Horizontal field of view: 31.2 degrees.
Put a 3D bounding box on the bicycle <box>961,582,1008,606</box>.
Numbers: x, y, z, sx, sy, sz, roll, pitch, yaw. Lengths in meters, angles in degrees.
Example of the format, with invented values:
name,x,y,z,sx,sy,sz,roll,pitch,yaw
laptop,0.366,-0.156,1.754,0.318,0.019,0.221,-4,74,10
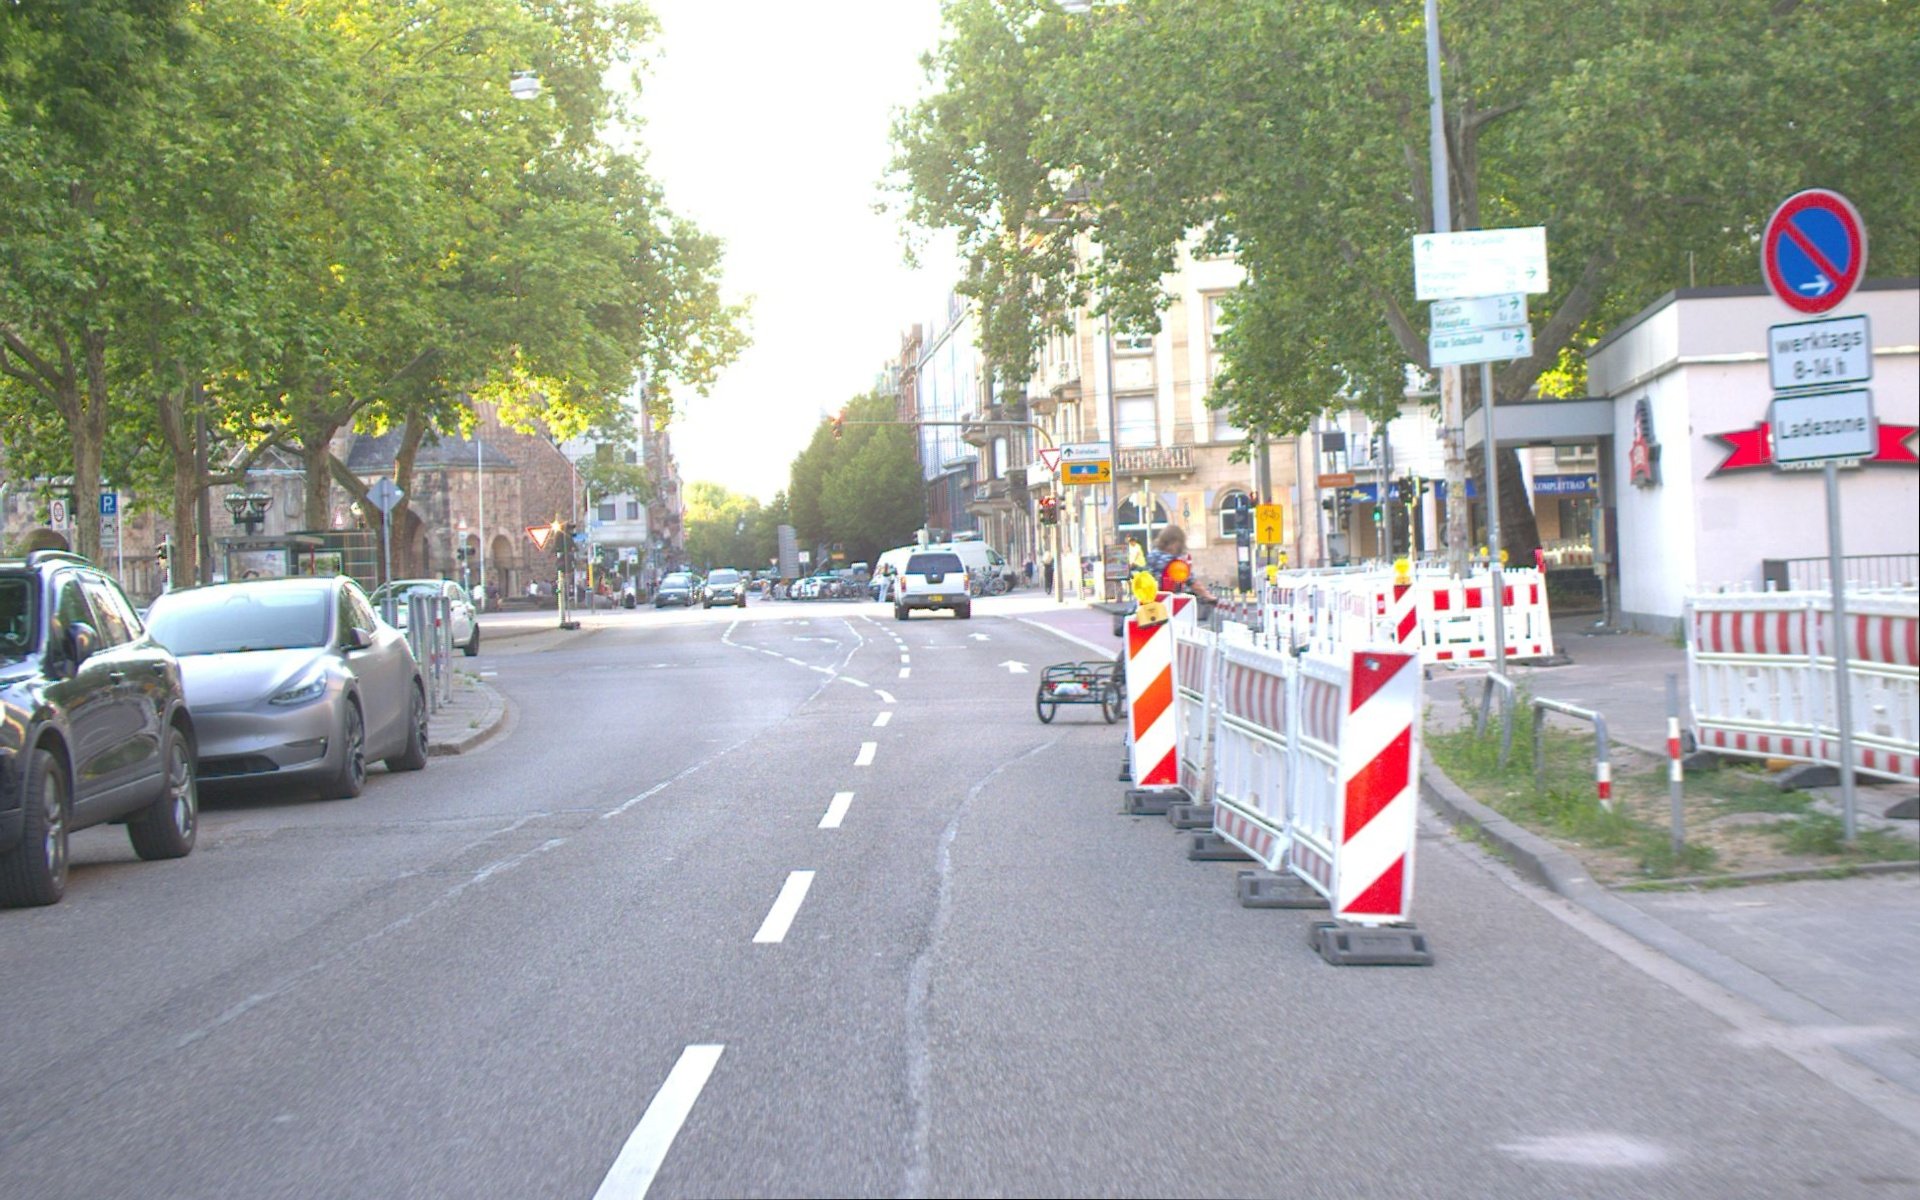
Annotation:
name,x,y,z,sx,sy,sz,roll,pitch,yaw
bicycle,1.042,-0.265,145.376,1.915,0.965,0.546,-2,0,-1

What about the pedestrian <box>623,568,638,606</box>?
name,x,y,z,sx,sy,sz,roll,pitch,yaw
pedestrian,-16.542,-0.665,172.503,0.593,1.880,0.553,-2,0,9

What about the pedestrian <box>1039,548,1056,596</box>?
name,x,y,z,sx,sy,sz,roll,pitch,yaw
pedestrian,3.489,-1.111,137.465,0.593,1.880,0.647,-2,0,2

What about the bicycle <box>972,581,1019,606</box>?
name,x,y,z,sx,sy,sz,roll,pitch,yaw
bicycle,1.512,-0.270,146.160,1.916,0.965,0.545,-2,0,15

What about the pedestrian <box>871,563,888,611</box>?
name,x,y,z,sx,sy,sz,roll,pitch,yaw
pedestrian,-3.253,-0.527,138.832,0.593,1.880,0.647,-2,0,2

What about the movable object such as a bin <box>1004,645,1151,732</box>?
name,x,y,z,sx,sy,sz,roll,pitch,yaw
movable object such as a bin,1.081,0.806,31.454,0.940,0.686,0.992,-5,0,30

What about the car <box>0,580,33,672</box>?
name,x,y,z,sx,sy,sz,roll,pitch,yaw
car,-20.202,0.596,66.916,1.820,1.794,4.627,-2,1,19

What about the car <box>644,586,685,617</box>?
name,x,y,z,sx,sy,sz,roll,pitch,yaw
car,-15.982,0.063,185.856,1.993,1.645,3.822,-1,0,-8

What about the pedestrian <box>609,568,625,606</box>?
name,x,y,z,sx,sy,sz,roll,pitch,yaw
pedestrian,-17.199,-0.635,172.546,0.593,1.880,0.585,-2,0,9

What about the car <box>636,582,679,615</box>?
name,x,y,z,sx,sy,sz,roll,pitch,yaw
car,-15.680,-0.077,178.084,1.993,1.645,3.822,-1,0,-8

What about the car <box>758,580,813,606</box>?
name,x,y,z,sx,sy,sz,roll,pitch,yaw
car,-13.160,-0.519,258.969,3.986,1.809,2.000,-2,0,-5

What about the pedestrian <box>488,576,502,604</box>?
name,x,y,z,sx,sy,sz,roll,pitch,yaw
pedestrian,-21.235,-0.453,156.977,0.497,1.276,0.492,-2,0,-24

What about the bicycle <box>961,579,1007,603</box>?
name,x,y,z,sx,sy,sz,roll,pitch,yaw
bicycle,1.011,-0.378,145.097,1.915,0.965,0.546,-2,0,-1

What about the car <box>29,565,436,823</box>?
name,x,y,z,sx,sy,sz,roll,pitch,yaw
car,-5.264,0.618,25.511,1.953,1.611,4.605,-4,0,0

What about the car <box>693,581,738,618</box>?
name,x,y,z,sx,sy,sz,roll,pitch,yaw
car,-11.121,-0.007,156.233,1.781,1.645,3.822,-1,0,-8

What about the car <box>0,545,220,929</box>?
name,x,y,z,sx,sy,sz,roll,pitch,yaw
car,-5.309,0.659,17.545,1.953,1.713,4.771,-4,0,0

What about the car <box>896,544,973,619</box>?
name,x,y,z,sx,sy,sz,roll,pitch,yaw
car,-0.684,-0.471,89.218,1.866,1.809,4.000,-3,0,-1

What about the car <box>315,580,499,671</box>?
name,x,y,z,sx,sy,sz,roll,pitch,yaw
car,-10.078,0.439,62.954,1.994,1.514,3.998,-2,1,11

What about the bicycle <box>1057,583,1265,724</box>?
name,x,y,z,sx,sy,sz,roll,pitch,yaw
bicycle,1.944,0.497,32.873,0.940,1.168,2.355,-5,0,30

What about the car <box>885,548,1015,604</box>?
name,x,y,z,sx,sy,sz,roll,pitch,yaw
car,-0.416,-1.076,151.625,5.807,2.280,2.071,-3,1,-42

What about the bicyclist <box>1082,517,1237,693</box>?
name,x,y,z,sx,sy,sz,roll,pitch,yaw
bicyclist,1.916,0.038,32.887,0.940,1.576,1.144,-5,0,30
